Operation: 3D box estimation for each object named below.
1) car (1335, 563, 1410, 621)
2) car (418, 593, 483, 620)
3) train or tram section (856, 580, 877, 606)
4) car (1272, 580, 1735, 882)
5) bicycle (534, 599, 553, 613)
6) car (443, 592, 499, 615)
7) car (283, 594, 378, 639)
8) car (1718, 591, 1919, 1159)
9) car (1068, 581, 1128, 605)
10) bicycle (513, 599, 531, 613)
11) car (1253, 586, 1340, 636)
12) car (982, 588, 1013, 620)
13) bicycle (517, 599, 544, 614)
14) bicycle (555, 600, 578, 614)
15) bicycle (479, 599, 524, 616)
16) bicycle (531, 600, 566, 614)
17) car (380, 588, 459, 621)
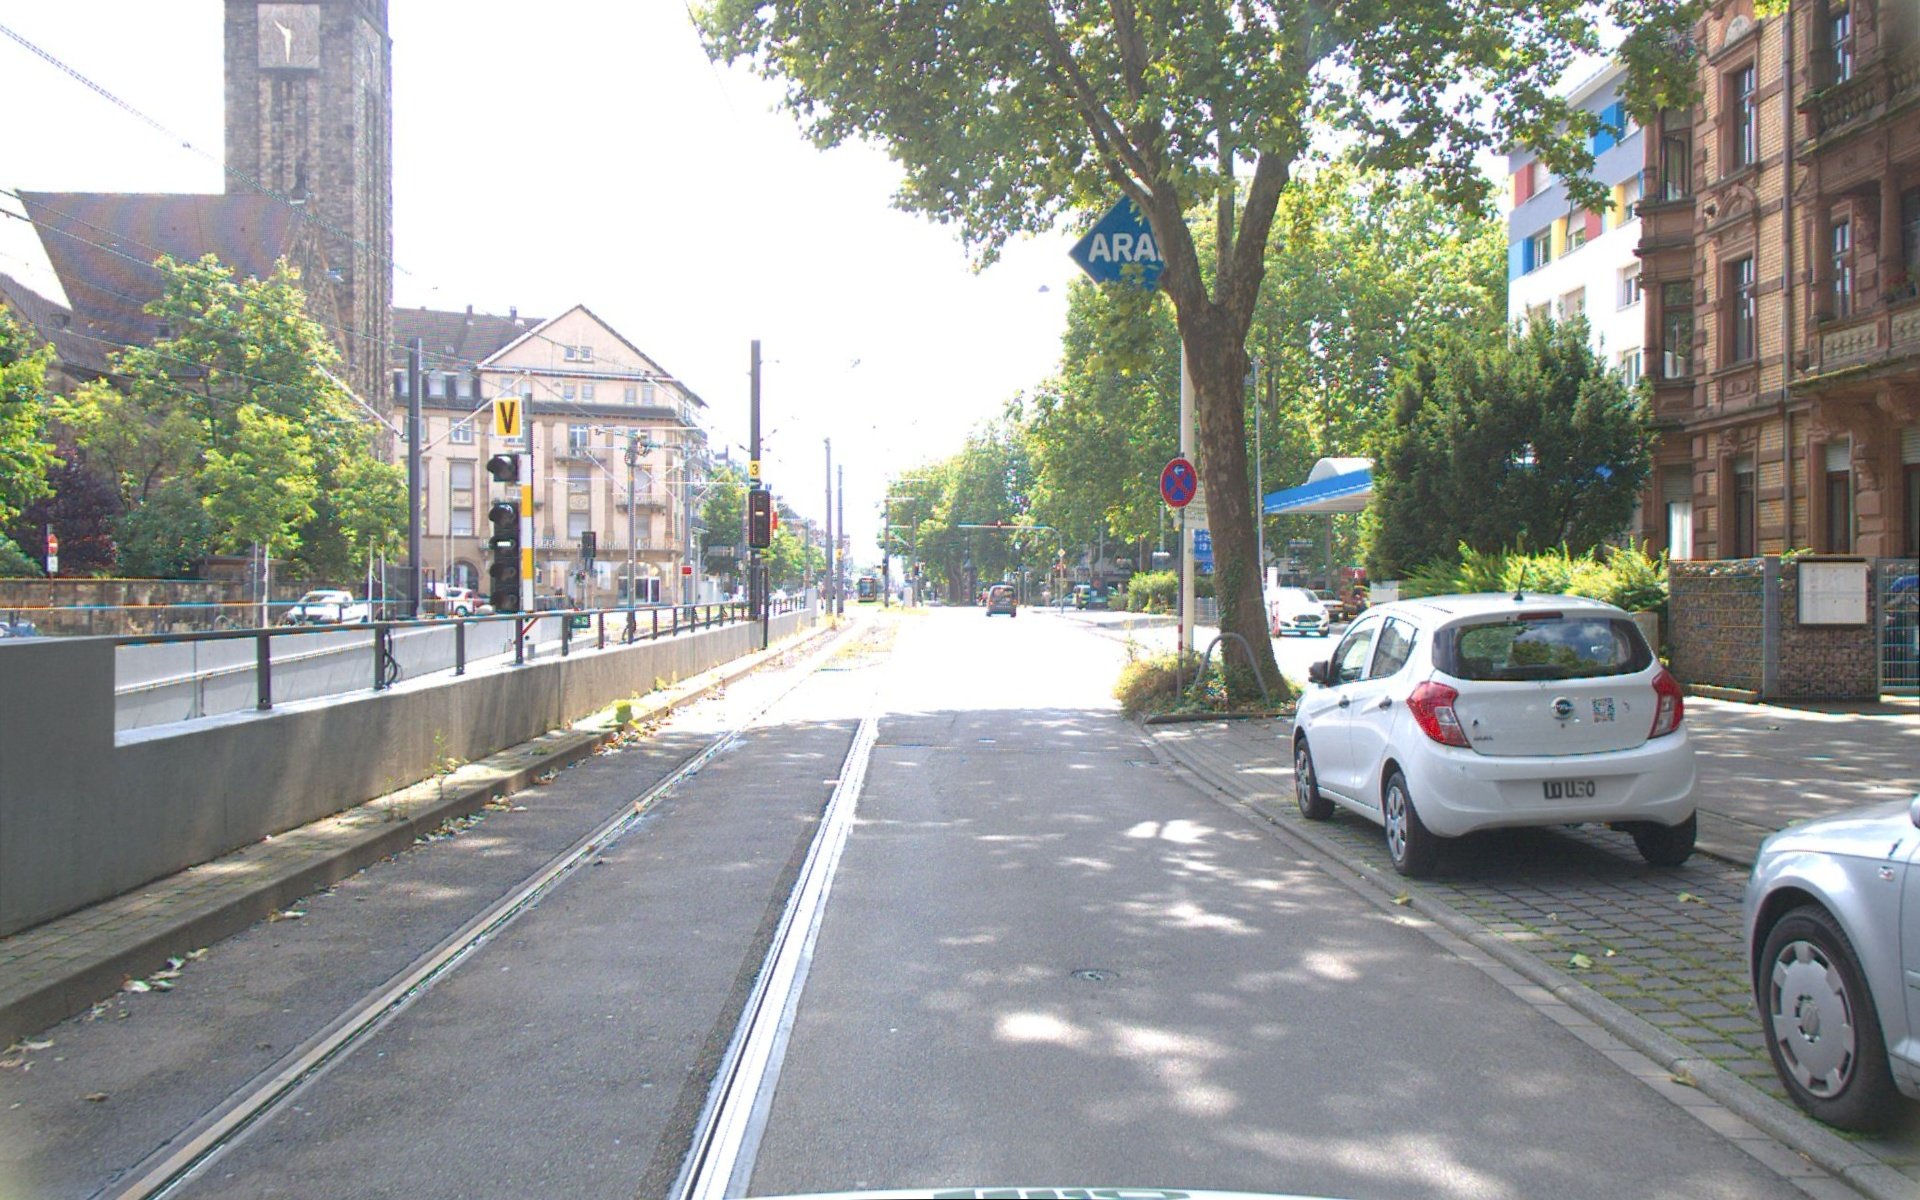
[{"bbox_3d":[19.487,-0.372,78.399,2.068,2.627,6.019,0,0,0],"label":"car"},{"bbox_3d":[-28.950,0.370,94.043,3.200,1.528,1.853,0,0,-3],"label":"car"},{"bbox_3d":[-12.567,-0.982,222.896,2.195,3.389,12.968,0,0,-1],"label":"train or tram section"},{"bbox_3d":[3.134,0.645,10.341,1.522,1.511,3.857,-1,1,-2],"label":"car"},{"bbox_3d":[-32.422,0.497,128.643,0.795,1.071,2.540,0,0,-30],"label":"bicycle"},{"bbox_3d":[-36.954,0.297,125.015,3.914,1.703,1.995,0,0,31],"label":"car"},{"bbox_3d":[-22.433,0.560,59.136,1.892,1.531,4.411,0,0,-3],"label":"car"},{"bbox_3d":[3.347,0.711,3.444,1.644,1.469,3.857,-2,0,-2],"label":"car"},{"bbox_3d":[11.482,-0.585,137.478,4.675,1.892,1.984,-1,0,-25],"label":"car"},{"bbox_3d":[-33.878,0.471,127.839,0.732,1.071,2.540,0,0,-30],"label":"bicycle"},{"bbox_3d":[10.325,0.306,51.026,1.769,1.481,4.000,0,0,-2],"label":"car"},{"bbox_3d":[2.219,0.210,99.346,1.715,1.840,3.474,1,0,-1],"label":"car"},{"bbox_3d":[-32.614,0.492,125.670,1.956,1.134,0.480,0,0,-38],"label":"bicycle"},{"bbox_3d":[-30.781,0.518,129.452,0.786,1.071,2.568,0,0,11],"label":"bicycle"},{"bbox_3d":[-34.986,0.583,126.139,3.239,1.275,0.999,0,0,15],"label":"bicycle"},{"bbox_3d":[-31.648,0.510,127.110,2.530,1.071,0.676,0,0,-29],"label":"bicycle"},{"bbox_3d":[-29.632,0.232,90.744,3.794,1.779,1.893,0,0,-4],"label":"car"}]
